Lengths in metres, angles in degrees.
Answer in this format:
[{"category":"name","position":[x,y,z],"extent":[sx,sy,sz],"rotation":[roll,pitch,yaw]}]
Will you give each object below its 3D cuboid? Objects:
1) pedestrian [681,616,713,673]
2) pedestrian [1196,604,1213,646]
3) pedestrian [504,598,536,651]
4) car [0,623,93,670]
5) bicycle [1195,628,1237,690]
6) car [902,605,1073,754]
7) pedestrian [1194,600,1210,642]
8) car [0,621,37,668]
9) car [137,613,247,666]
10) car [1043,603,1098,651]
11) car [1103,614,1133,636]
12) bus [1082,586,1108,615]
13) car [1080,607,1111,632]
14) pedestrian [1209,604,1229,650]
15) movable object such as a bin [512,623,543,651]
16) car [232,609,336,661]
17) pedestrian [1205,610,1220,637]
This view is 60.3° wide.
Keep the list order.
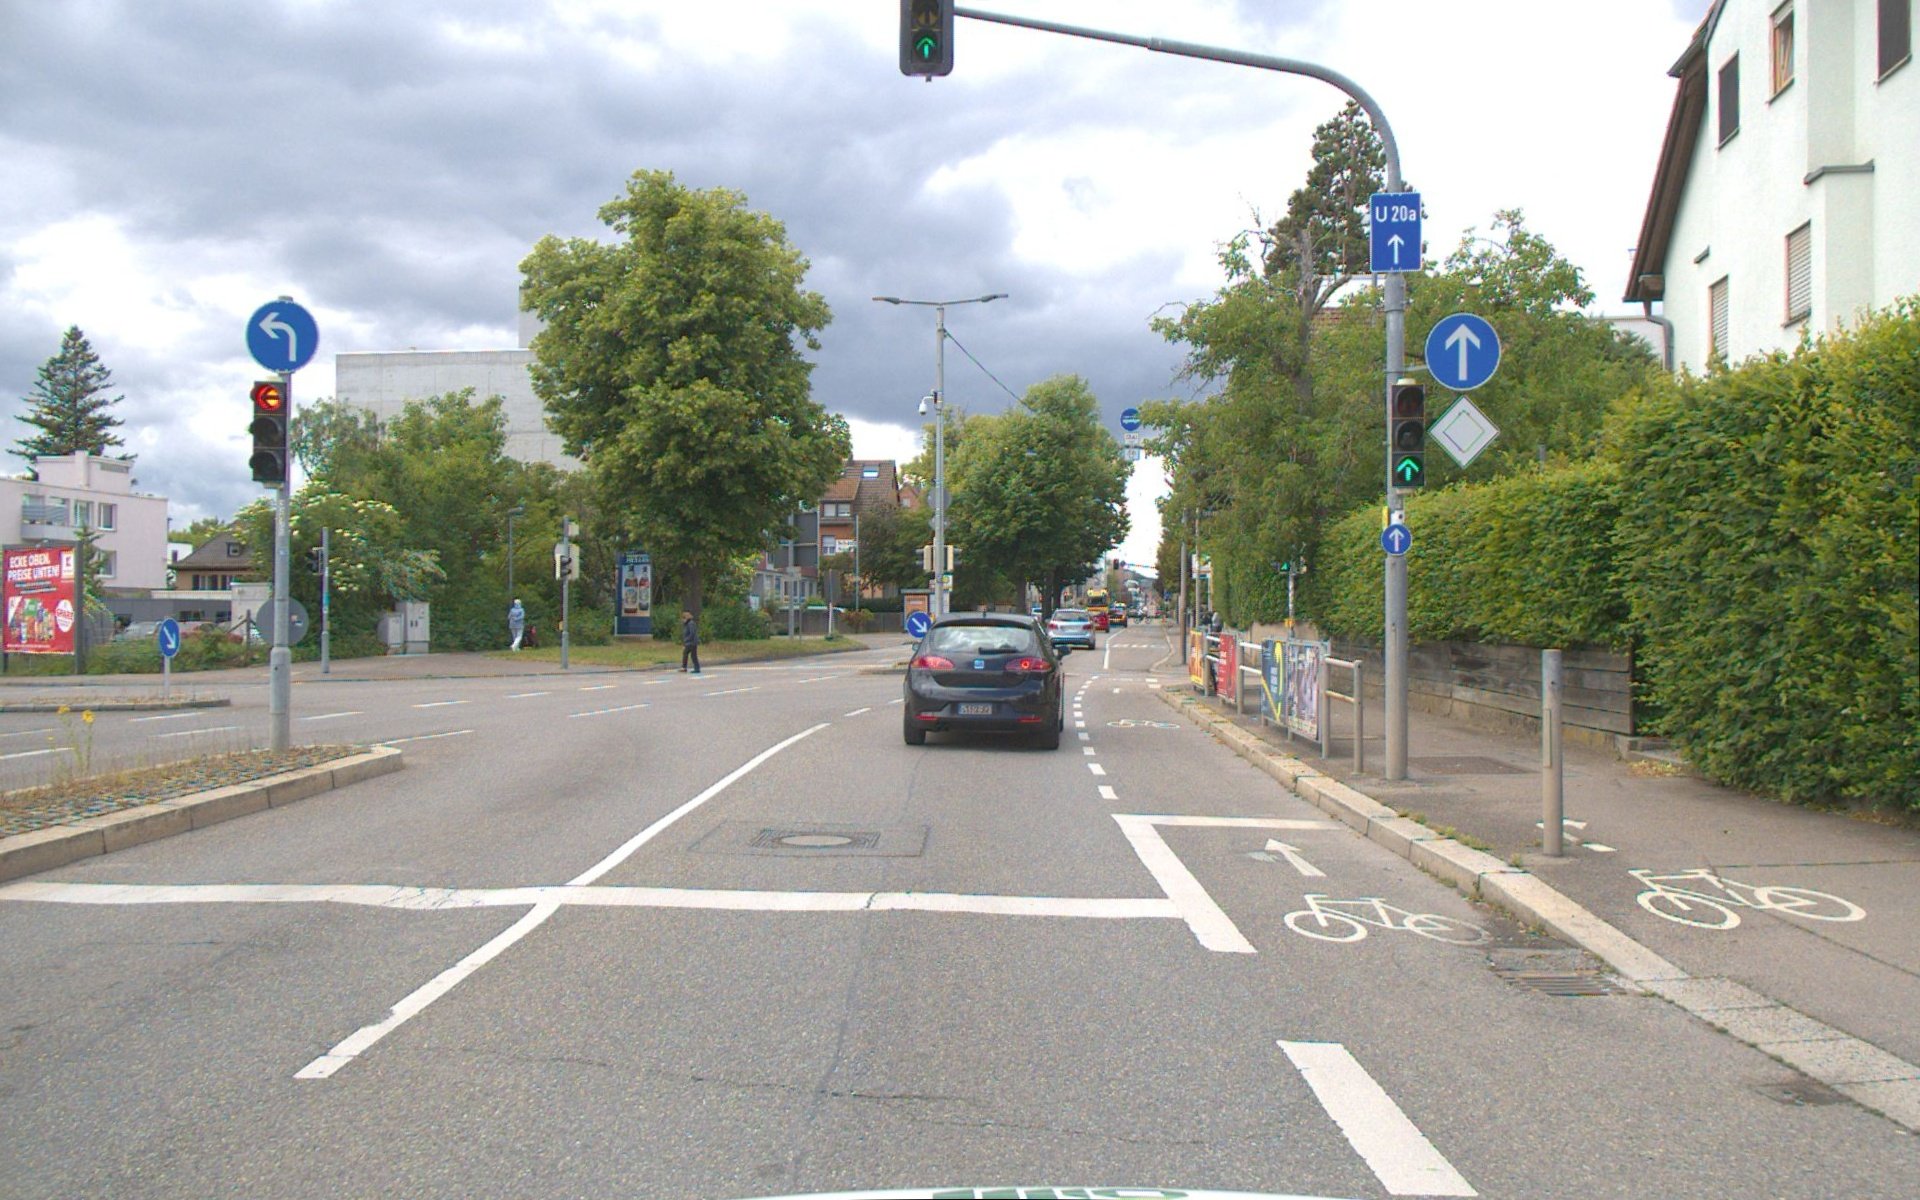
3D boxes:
[{"category":"pedestrian","position":[-6.584,1.107,41.441],"extent":[0.758,1.432,0.599],"rotation":[0,-1,-7]},{"category":"pedestrian","position":[9.084,0.934,61.419],"extent":[0.538,1.543,0.362],"rotation":[-3,0,15]},{"category":"pedestrian","position":[-12.809,0.709,48.131],"extent":[0.641,1.549,0.924],"rotation":[0,-1,4]},{"category":"car","position":[-32.956,1.622,58.405],"extent":[1.759,1.581,4.000],"rotation":[0,-1,21]},{"category":"bicycle","position":[4.532,1.030,29.316],"extent":[0.615,1.046,1.505],"rotation":[0,0,4]},{"category":"car","position":[0.381,0.825,19.010],"extent":[1.723,1.474,3.715],"rotation":[2,0,3]},{"category":"pedestrian","position":[10.196,0.898,69.632],"extent":[0.573,1.742,0.530],"rotation":[-2,-1,5]},{"category":"car","position":[-36.578,1.656,61.235],"extent":[1.759,1.748,4.000],"rotation":[0,-1,21]},{"category":"car","position":[-31.976,1.626,68.981],"extent":[1.951,2.049,4.002],"rotation":[2,-1,15]},{"category":"car","position":[4.170,0.984,62.158],"extent":[1.780,1.729,4.256],"rotation":[-1,0,7]},{"category":"car","position":[12.904,2.029,134.824],"extent":[1.951,1.713,4.003],"rotation":[0,0,12]},{"category":"bus","position":[15.466,0.075,188.863],"extent":[2.808,3.191,6.401],"rotation":[0,0,6]},{"category":"car","position":[8.584,1.254,105.219],"extent":[1.900,1.507,4.255],"rotation":[-1,0,4]},{"category":"pedestrian","position":[9.134,0.957,58.278],"extent":[0.532,1.582,0.471],"rotation":[-4,-1,-2]},{"category":"movable object such as a bin","position":[-12.768,1.080,48.815],"extent":[0.641,0.812,0.897],"rotation":[0,-1,4]},{"category":"car","position":[-28.214,1.451,69.175],"extent":[1.951,2.049,4.002],"rotation":[2,-1,15]},{"category":"pedestrian","position":[9.398,0.874,61.528],"extent":[0.444,0.981,0.383],"rotation":[-4,0,0]}]
